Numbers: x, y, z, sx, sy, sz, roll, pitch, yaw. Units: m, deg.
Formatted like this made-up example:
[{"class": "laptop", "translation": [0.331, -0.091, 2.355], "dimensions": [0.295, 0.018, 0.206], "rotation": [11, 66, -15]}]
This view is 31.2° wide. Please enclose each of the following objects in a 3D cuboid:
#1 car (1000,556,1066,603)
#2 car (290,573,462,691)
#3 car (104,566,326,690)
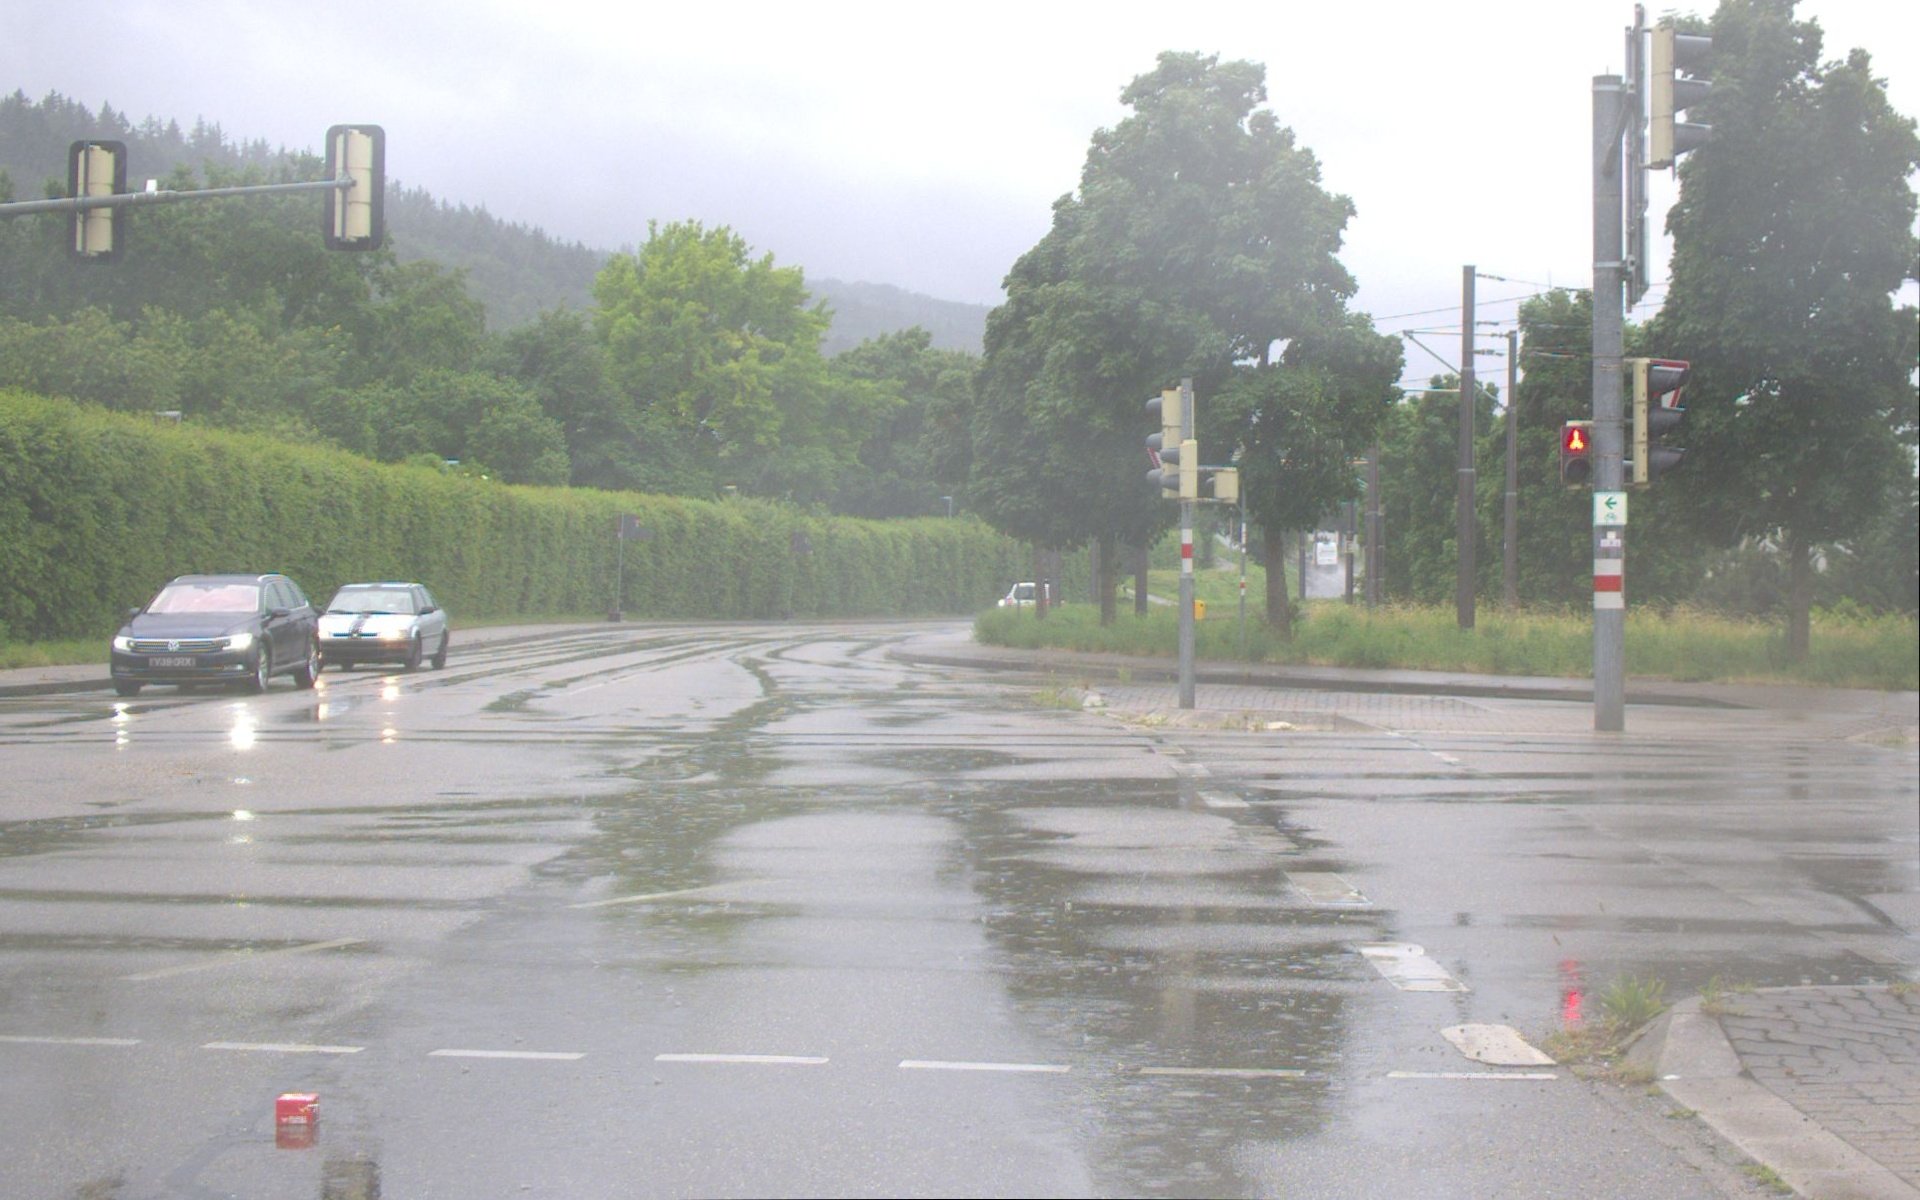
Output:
[{"class": "car", "translation": [3.088, -0.864, 143.698], "dimensions": [1.954, 1.897, 4.118], "rotation": [0, 1, 13]}, {"class": "car", "translation": [-9.086, 0.468, 53.807], "dimensions": [2.036, 1.702, 4.066], "rotation": [1, 1, -1]}, {"class": "car", "translation": [-9.341, 0.314, 43.434], "dimensions": [1.708, 1.461, 4.453], "rotation": [0, 1, 2]}]
